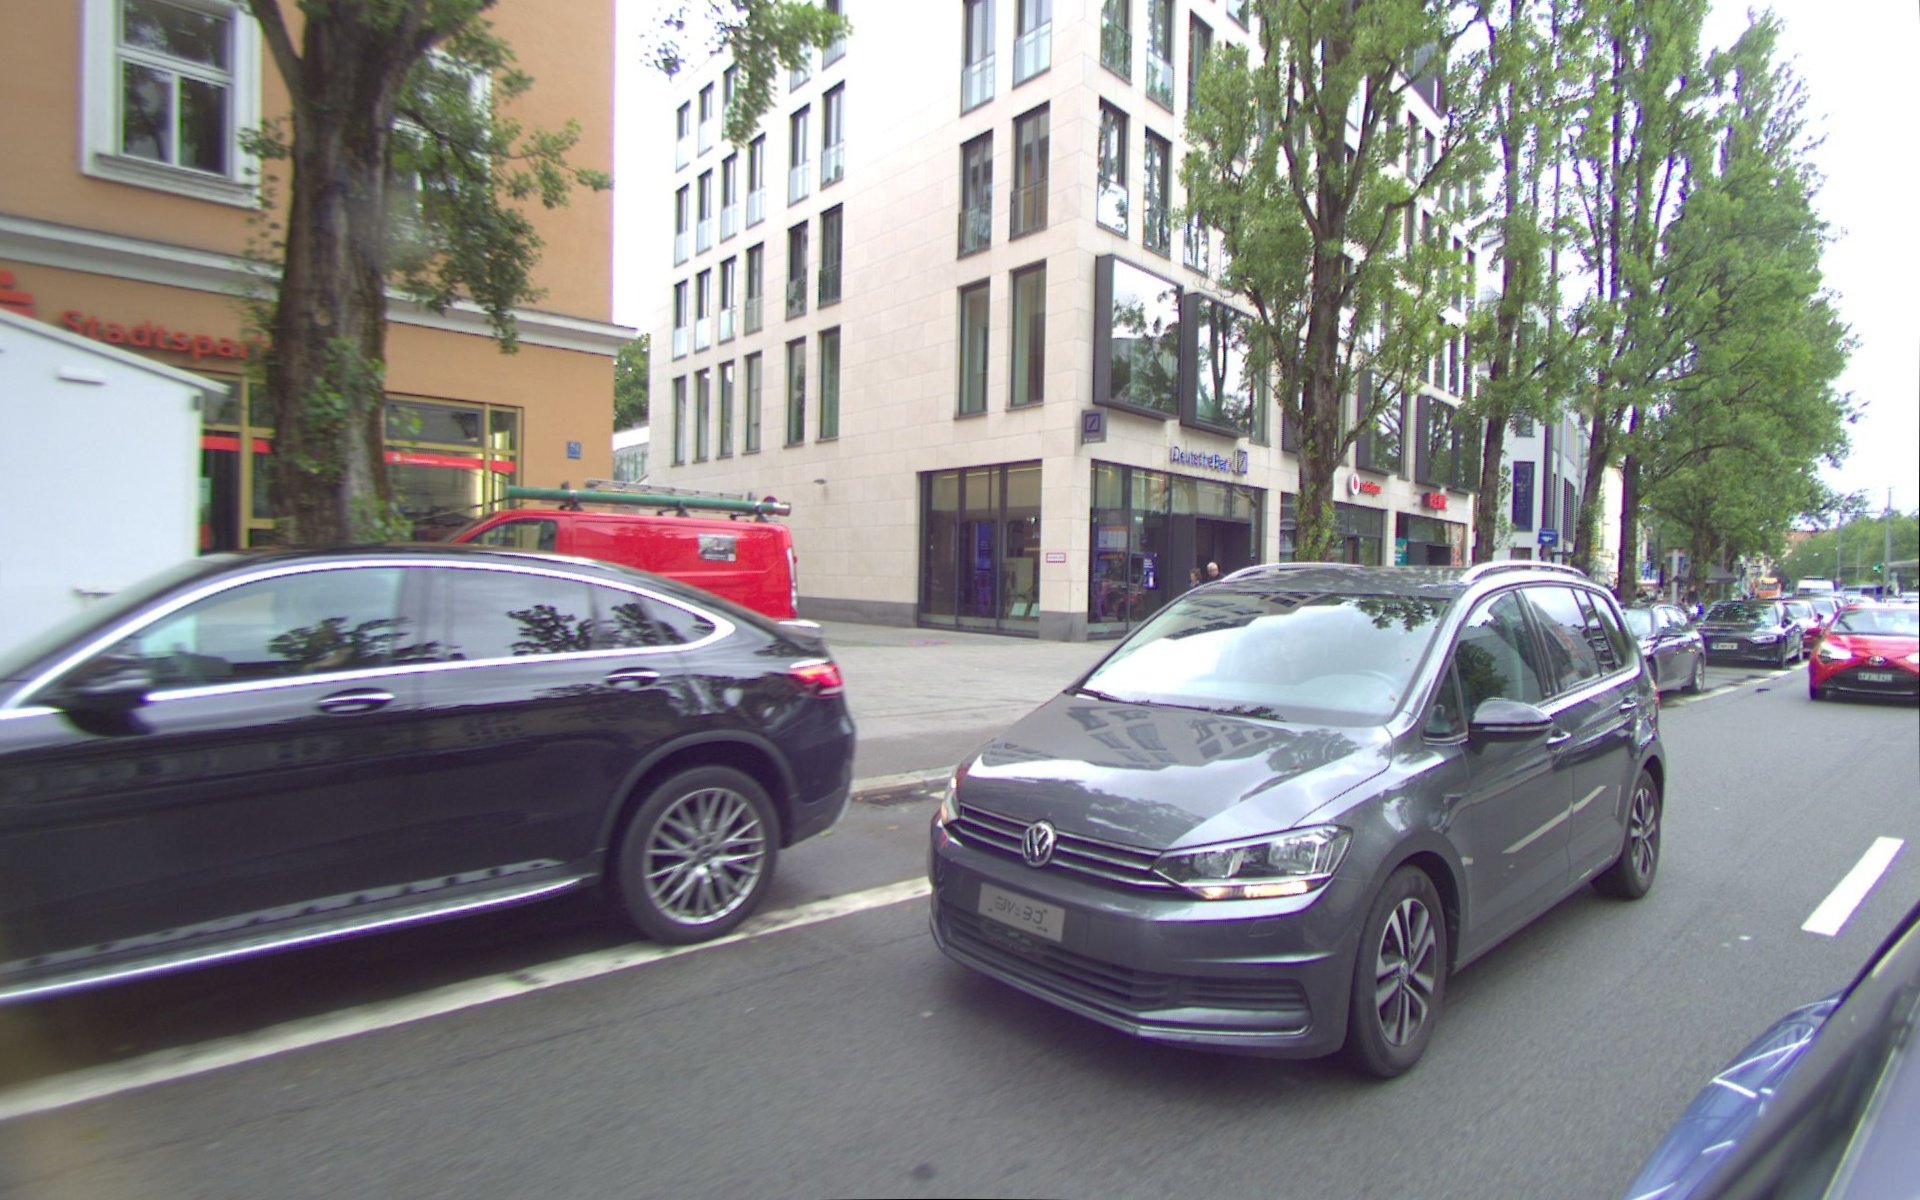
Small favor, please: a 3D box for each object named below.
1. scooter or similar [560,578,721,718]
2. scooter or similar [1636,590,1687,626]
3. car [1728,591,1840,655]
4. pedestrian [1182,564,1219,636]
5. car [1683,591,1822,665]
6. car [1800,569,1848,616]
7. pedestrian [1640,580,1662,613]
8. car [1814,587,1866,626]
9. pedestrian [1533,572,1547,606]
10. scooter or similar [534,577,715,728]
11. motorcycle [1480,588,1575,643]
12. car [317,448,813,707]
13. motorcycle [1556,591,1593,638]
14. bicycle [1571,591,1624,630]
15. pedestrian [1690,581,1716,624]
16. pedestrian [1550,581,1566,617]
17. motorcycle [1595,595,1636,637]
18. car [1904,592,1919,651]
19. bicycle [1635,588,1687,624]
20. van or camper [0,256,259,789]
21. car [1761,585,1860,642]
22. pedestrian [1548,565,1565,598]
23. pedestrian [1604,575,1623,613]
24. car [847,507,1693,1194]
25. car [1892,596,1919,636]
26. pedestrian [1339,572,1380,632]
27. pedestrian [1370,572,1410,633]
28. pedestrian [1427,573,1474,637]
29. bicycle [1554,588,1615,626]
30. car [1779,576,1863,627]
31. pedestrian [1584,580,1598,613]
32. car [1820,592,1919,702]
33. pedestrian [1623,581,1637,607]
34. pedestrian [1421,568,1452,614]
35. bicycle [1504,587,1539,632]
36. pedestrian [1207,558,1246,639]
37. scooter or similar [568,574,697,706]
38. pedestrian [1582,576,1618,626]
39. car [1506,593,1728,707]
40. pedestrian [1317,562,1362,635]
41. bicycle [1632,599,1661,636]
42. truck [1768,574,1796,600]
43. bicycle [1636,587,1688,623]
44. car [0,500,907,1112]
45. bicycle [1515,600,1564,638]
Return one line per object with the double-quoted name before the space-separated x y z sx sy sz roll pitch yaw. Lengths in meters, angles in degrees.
"scooter or similar" -3.043 0.437 9.659 1.377 1.247 0.488 1 3 -28
"scooter or similar" 25.179 0.282 36.330 1.433 1.215 0.307 3 2 41
"car" 21.812 0.543 26.720 1.931 1.468 4.729 3 2 43
"pedestrian" 5.103 -0.004 21.482 0.536 1.509 0.505 1 1 -16
"car" 17.817 0.555 22.683 4.352 1.446 1.849 0 2 -44
"car" 52.810 -0.497 61.952 1.989 2.775 5.479 0 1 38
"pedestrian" 36.183 -0.188 53.011 0.799 1.657 1.008 3 2 41
"car" 40.824 0.277 47.018 1.725 1.707 4.344 1 1 40
"pedestrian" 28.596 -0.535 49.883 0.543 1.644 0.503 0 1 23
"scooter or similar" -3.007 0.450 9.088 1.446 1.247 0.528 1 3 -28
"motorcycle" 14.407 0.378 25.732 1.945 1.267 0.637 2 2 14
"car" -4.221 -0.225 11.191 4.727 2.356 1.910 1 2 -29
"motorcycle" 19.372 0.442 31.913 0.680 1.373 1.631 2 2 22
"bicycle" 20.647 0.331 32.776 1.424 1.204 0.549 1 2 -11
"pedestrian" 29.861 0.082 40.667 0.713 1.696 0.772 3 2 41
"pedestrian" 26.752 -0.047 45.270 0.487 1.586 0.564 2 2 26
"motorcycle" 19.884 0.468 30.720 0.680 1.170 1.631 2 2 22
"car" 26.235 0.559 26.826 1.736 1.488 3.986 2 1 44
"bicycle" 25.460 0.209 36.758 1.478 1.222 0.528 3 2 42
"van or camper" -7.274 -0.509 6.264 4.631 3.150 2.466 0 2 -40
"car" 25.584 0.346 30.392 4.727 1.519 1.812 0 3 -45
"pedestrian" 29.716 -0.926 50.411 0.496 1.644 0.550 0 1 -17
"pedestrian" 34.038 -0.333 52.731 0.646 1.948 0.912 3 2 41
"car" 1.681 0.563 4.464 4.113 1.634 1.763 0 1 -43
"car" 46.286 0.759 48.732 1.992 1.771 3.940 1 1 42
"pedestrian" 11.282 0.040 28.589 0.706 1.641 0.795 0 2 -43
"pedestrian" 11.890 0.066 27.988 0.736 1.641 0.825 3 2 44
"pedestrian" 12.795 0.121 26.411 0.834 1.596 0.924 3 2 42
"bicycle" 21.321 0.220 34.573 0.442 1.186 1.771 1 2 -26
"car" 31.091 -0.014 36.503 4.575 1.721 1.926 -1 2 -45
"pedestrian" 31.549 -0.186 50.587 0.487 1.654 0.564 2 2 26
"car" 14.337 0.646 15.385 1.666 1.464 3.539 1 2 45
"pedestrian" 44.286 -0.417 66.845 0.689 1.669 0.788 2 1 37
"pedestrian" 17.611 -0.333 37.389 0.783 1.681 0.754 0 2 -43
"bicycle" 15.630 0.247 28.159 0.455 1.202 1.690 3 2 42
"pedestrian" 5.532 -0.045 21.043 0.546 1.658 0.553 1 1 -16
"scooter or similar" -3.295 0.387 10.185 1.144 1.247 0.488 1 3 -28
"pedestrian" 21.902 0.034 34.631 0.600 1.639 0.796 1 2 -27
"car" 10.016 0.639 15.287 4.357 1.411 1.736 0 3 -43
"pedestrian" 9.476 -0.044 25.277 0.668 1.794 0.798 1 1 -12
"bicycle" 21.596 0.531 31.840 0.639 1.076 1.752 3 2 31
"truck" 115.633 -1.855 142.402 2.528 3.531 7.650 2 2 36
"bicycle" 25.831 0.175 37.267 1.478 1.222 0.528 3 2 42
"car" -2.581 0.522 3.984 4.502 1.662 1.885 0 2 -40
"bicycle" 15.530 0.504 27.109 1.729 0.952 0.435 1 2 -36
